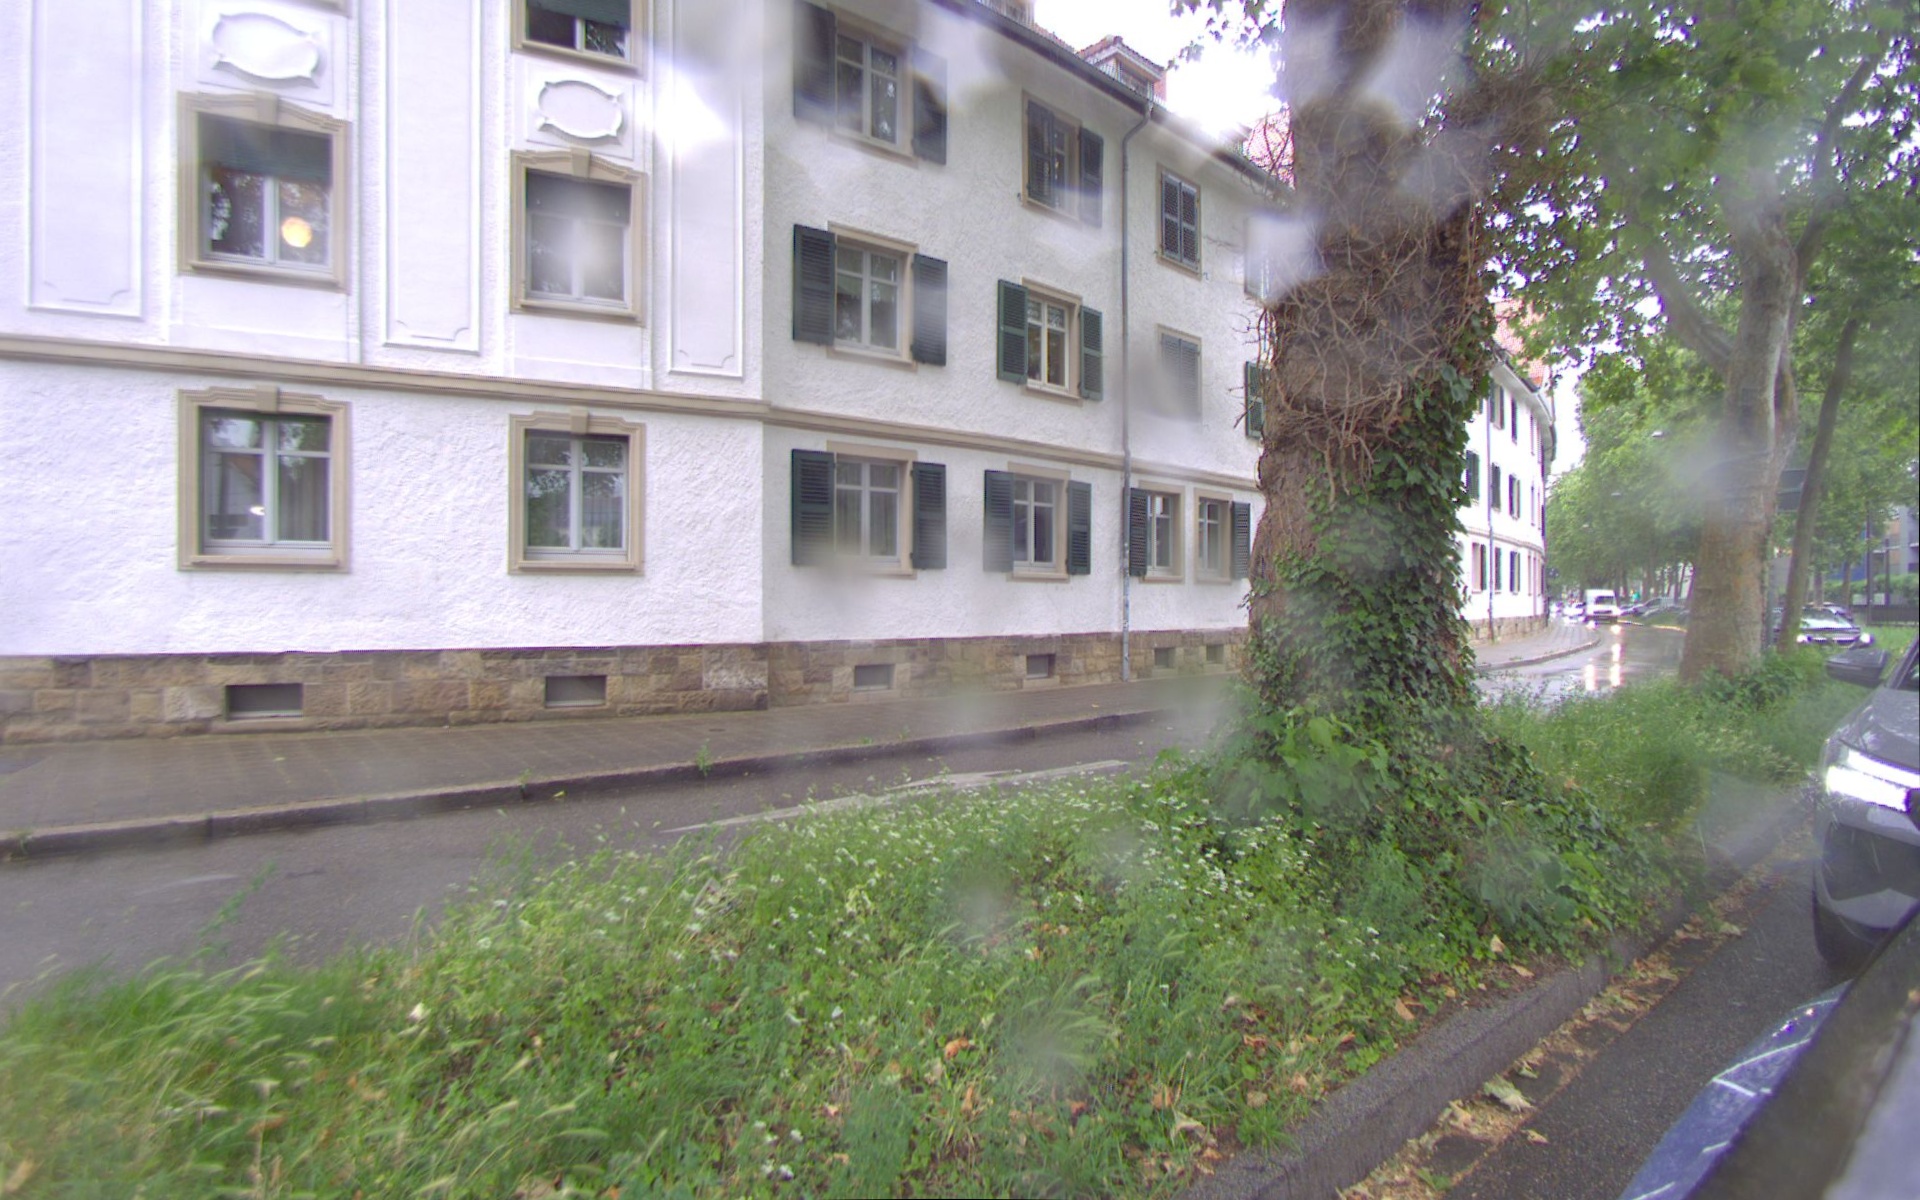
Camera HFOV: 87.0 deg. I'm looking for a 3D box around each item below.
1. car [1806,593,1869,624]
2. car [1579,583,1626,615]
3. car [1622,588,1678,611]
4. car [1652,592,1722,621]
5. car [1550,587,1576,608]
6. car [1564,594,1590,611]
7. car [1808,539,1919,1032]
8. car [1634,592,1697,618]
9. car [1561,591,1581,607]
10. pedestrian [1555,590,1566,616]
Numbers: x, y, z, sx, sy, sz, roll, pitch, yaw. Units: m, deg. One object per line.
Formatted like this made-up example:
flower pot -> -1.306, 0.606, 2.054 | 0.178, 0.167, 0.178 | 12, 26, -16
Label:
car -> 47.590, 0.420, 54.970 | 1.742, 1.612, 4.191 | 0, 0, 29
car -> 48.125, -0.054, 75.914 | 2.173, 2.292, 5.366 | 0, 0, 24
car -> 60.787, -0.045, 89.282 | 3.969, 2.039, 1.977 | 0, -1, 32
car -> 52.655, 0.468, 73.389 | 3.969, 2.039, 1.977 | 0, -1, 32
car -> 62.906, -0.280, 105.629 | 1.983, 2.038, 3.961 | 5, 3, 28
car -> 57.205, 0.193, 93.887 | 1.816, 1.545, 3.959 | 0, 0, 29
car -> 5.149, 0.616, 4.315 | 4.039, 1.662, 1.913 | 0, 0, -44
car -> 55.923, 0.384, 80.294 | 3.969, 2.039, 1.977 | 0, -1, 32
car -> 84.182, -0.153, 139.556 | 1.983, 2.038, 3.961 | 5, 3, 28
pedestrian -> 43.362, 0.195, 73.112 | 0.668, 1.845, 0.672 | 0, 0, 31
